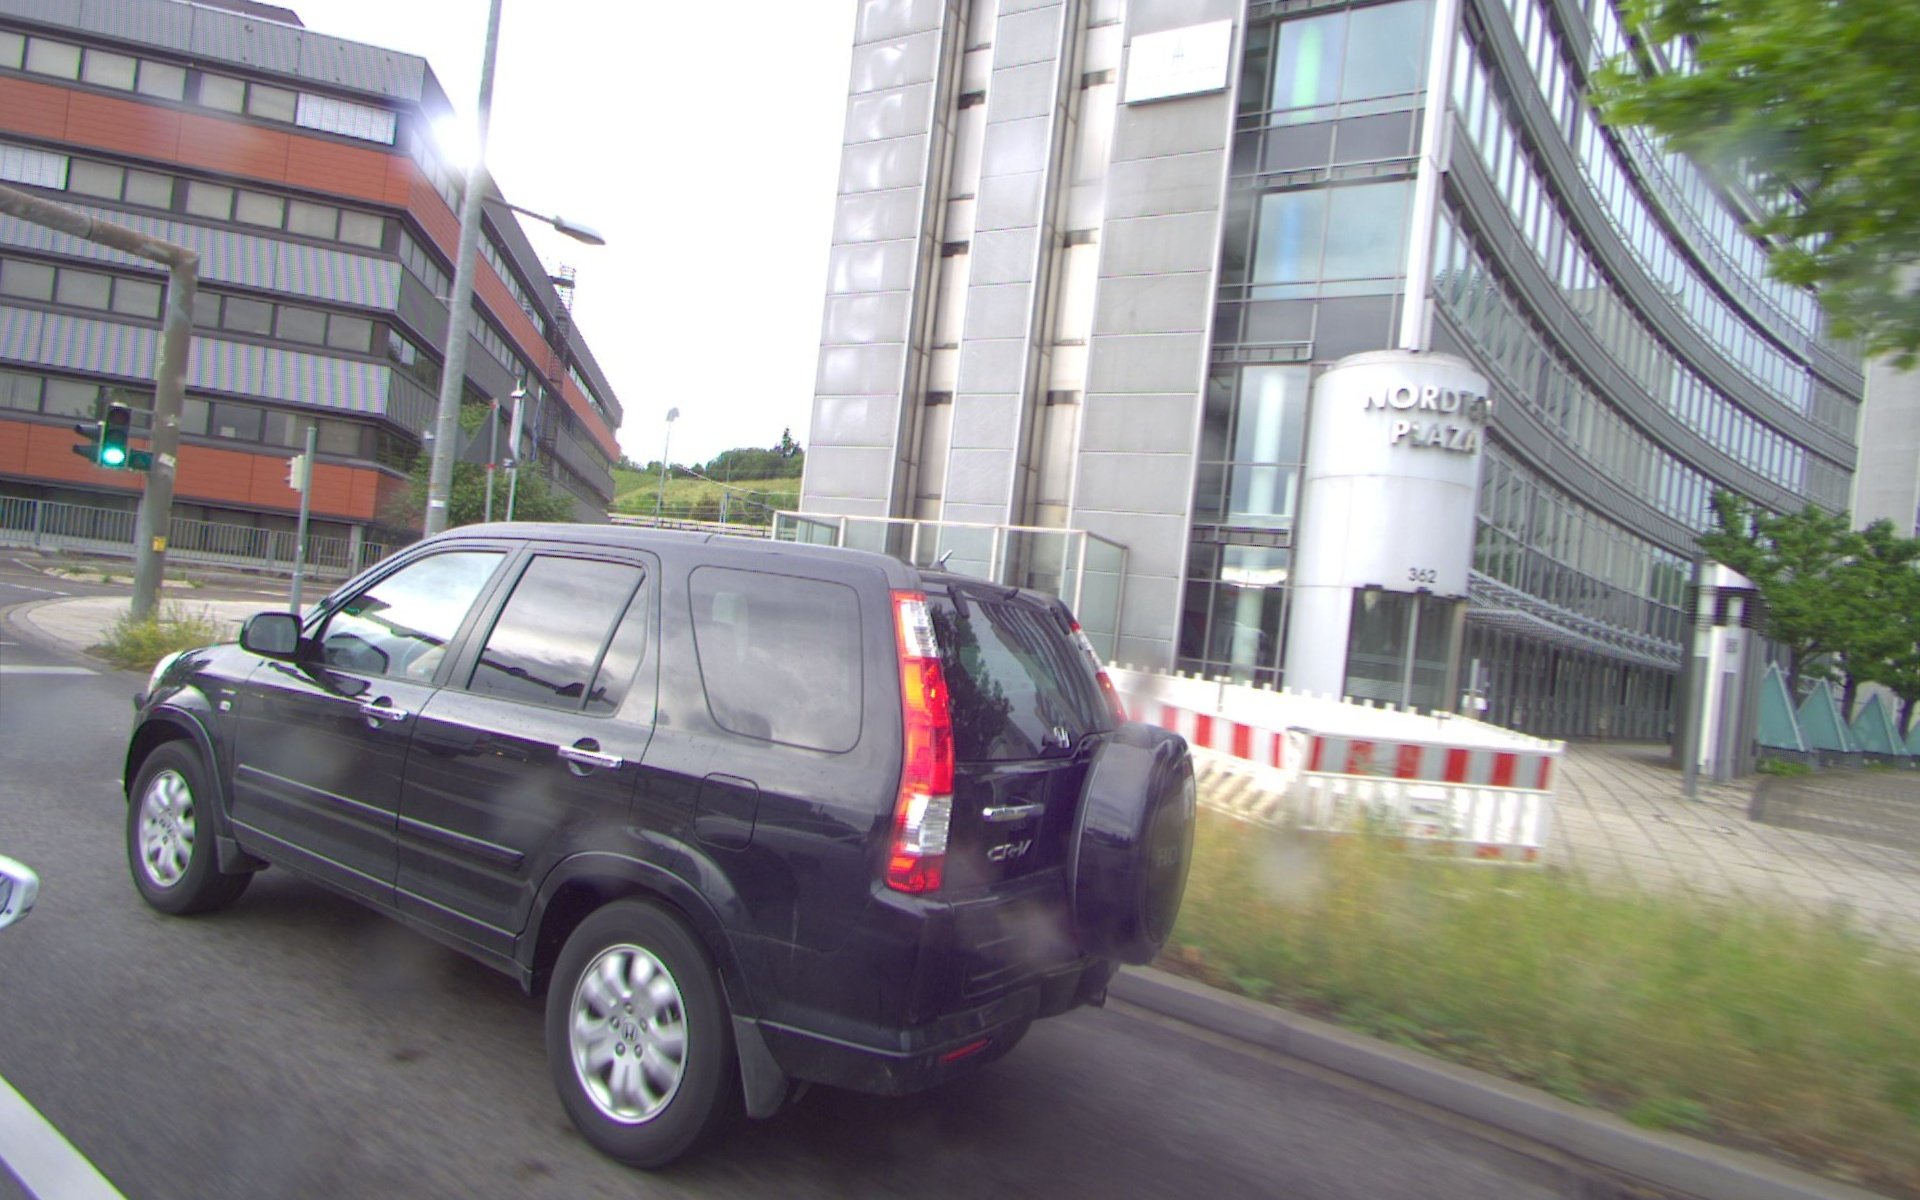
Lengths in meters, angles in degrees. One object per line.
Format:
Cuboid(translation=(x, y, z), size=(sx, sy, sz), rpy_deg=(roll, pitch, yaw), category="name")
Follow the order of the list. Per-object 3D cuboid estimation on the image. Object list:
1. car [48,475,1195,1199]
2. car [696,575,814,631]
Cuboid(translation=(-1.497, 0.563, 3.958), size=(4.252, 1.647, 1.771), rpy_deg=(5, -4, 31), category="car")
Cuboid(translation=(-9.418, 0.190, 46.505), size=(1.973, 1.937, 5.063), rpy_deg=(4, -4, 41), category="car")
